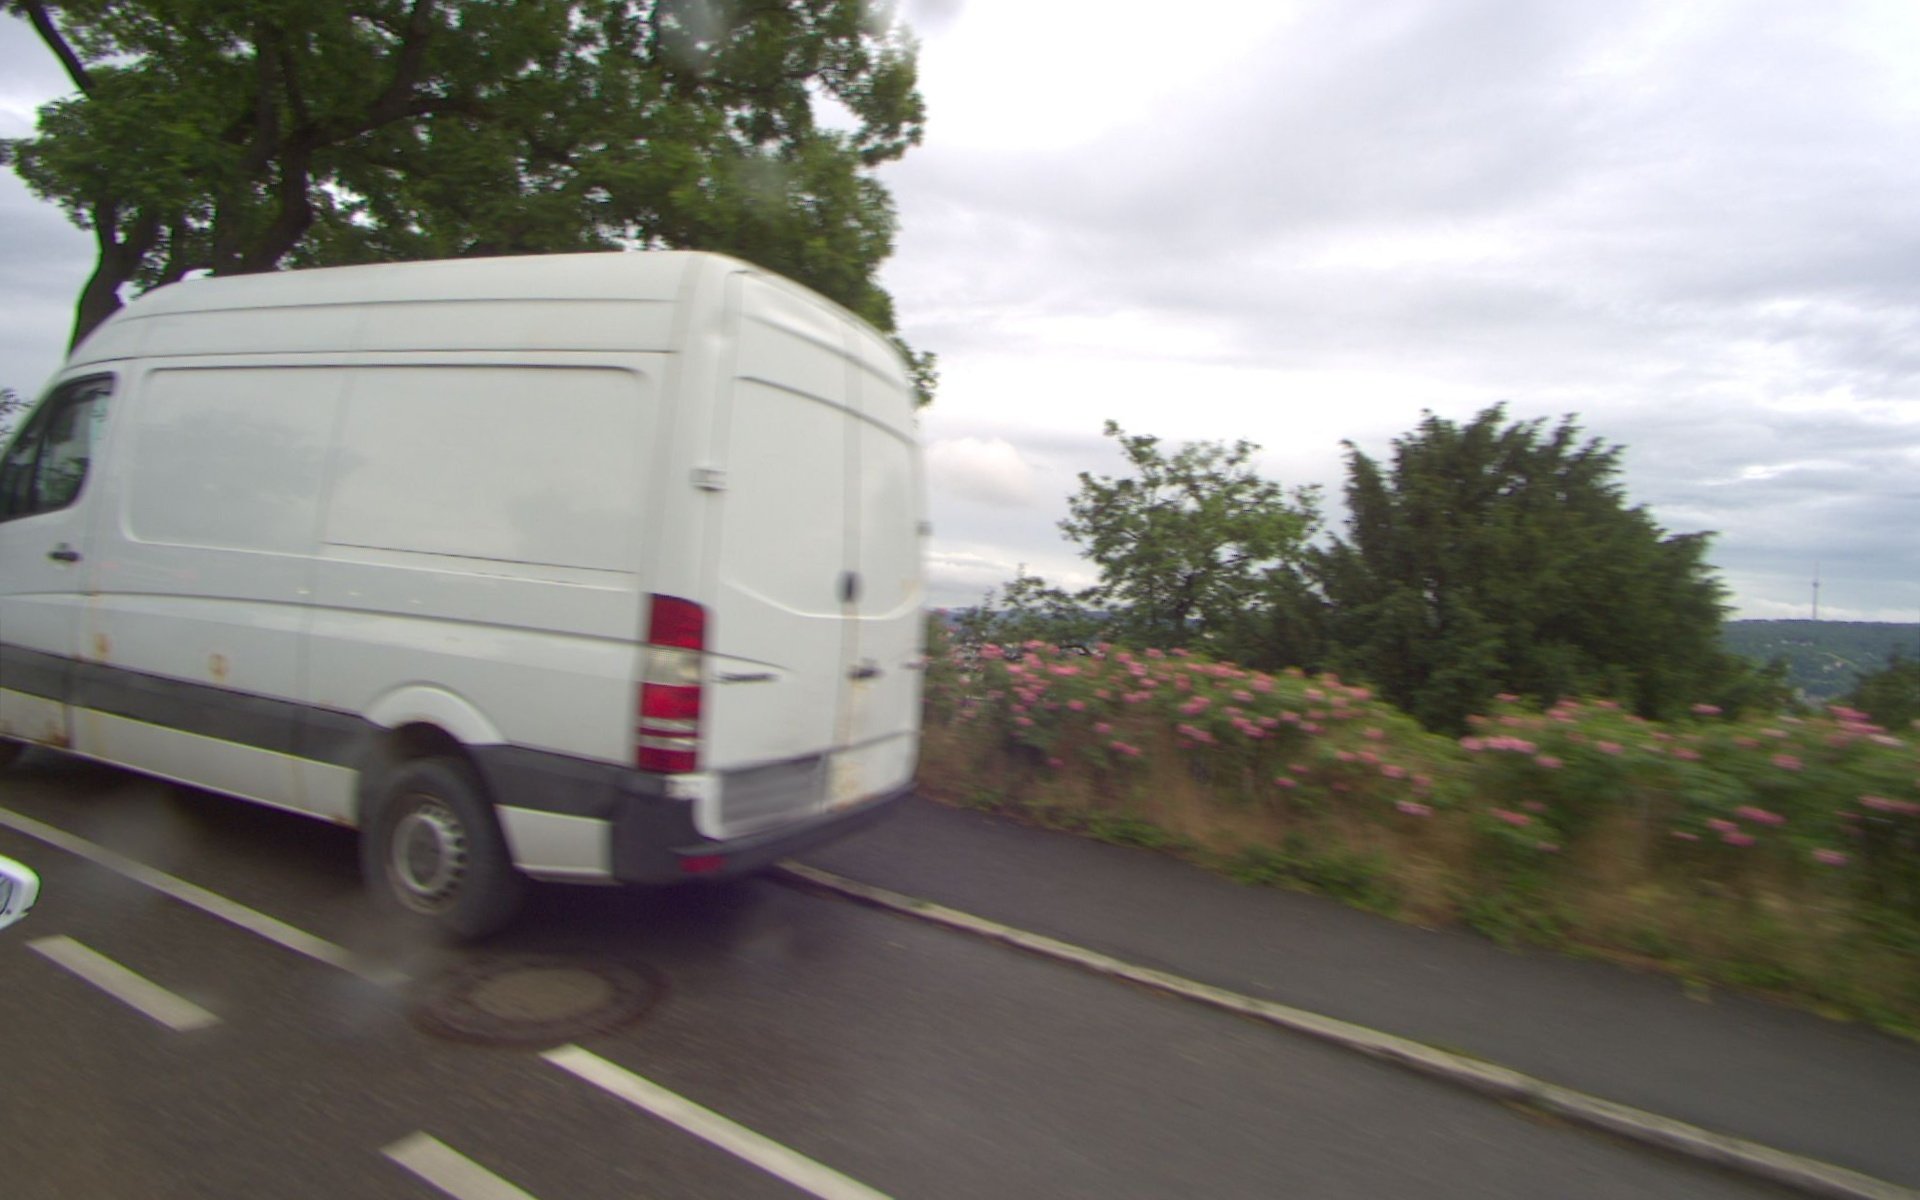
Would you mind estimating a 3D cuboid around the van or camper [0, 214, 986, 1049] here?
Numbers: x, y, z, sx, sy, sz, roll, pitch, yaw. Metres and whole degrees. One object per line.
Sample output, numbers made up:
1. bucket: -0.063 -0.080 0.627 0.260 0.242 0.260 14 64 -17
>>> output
1. van or camper: -3.037 -0.160 5.252 5.781 2.614 2.070 7 2 24
